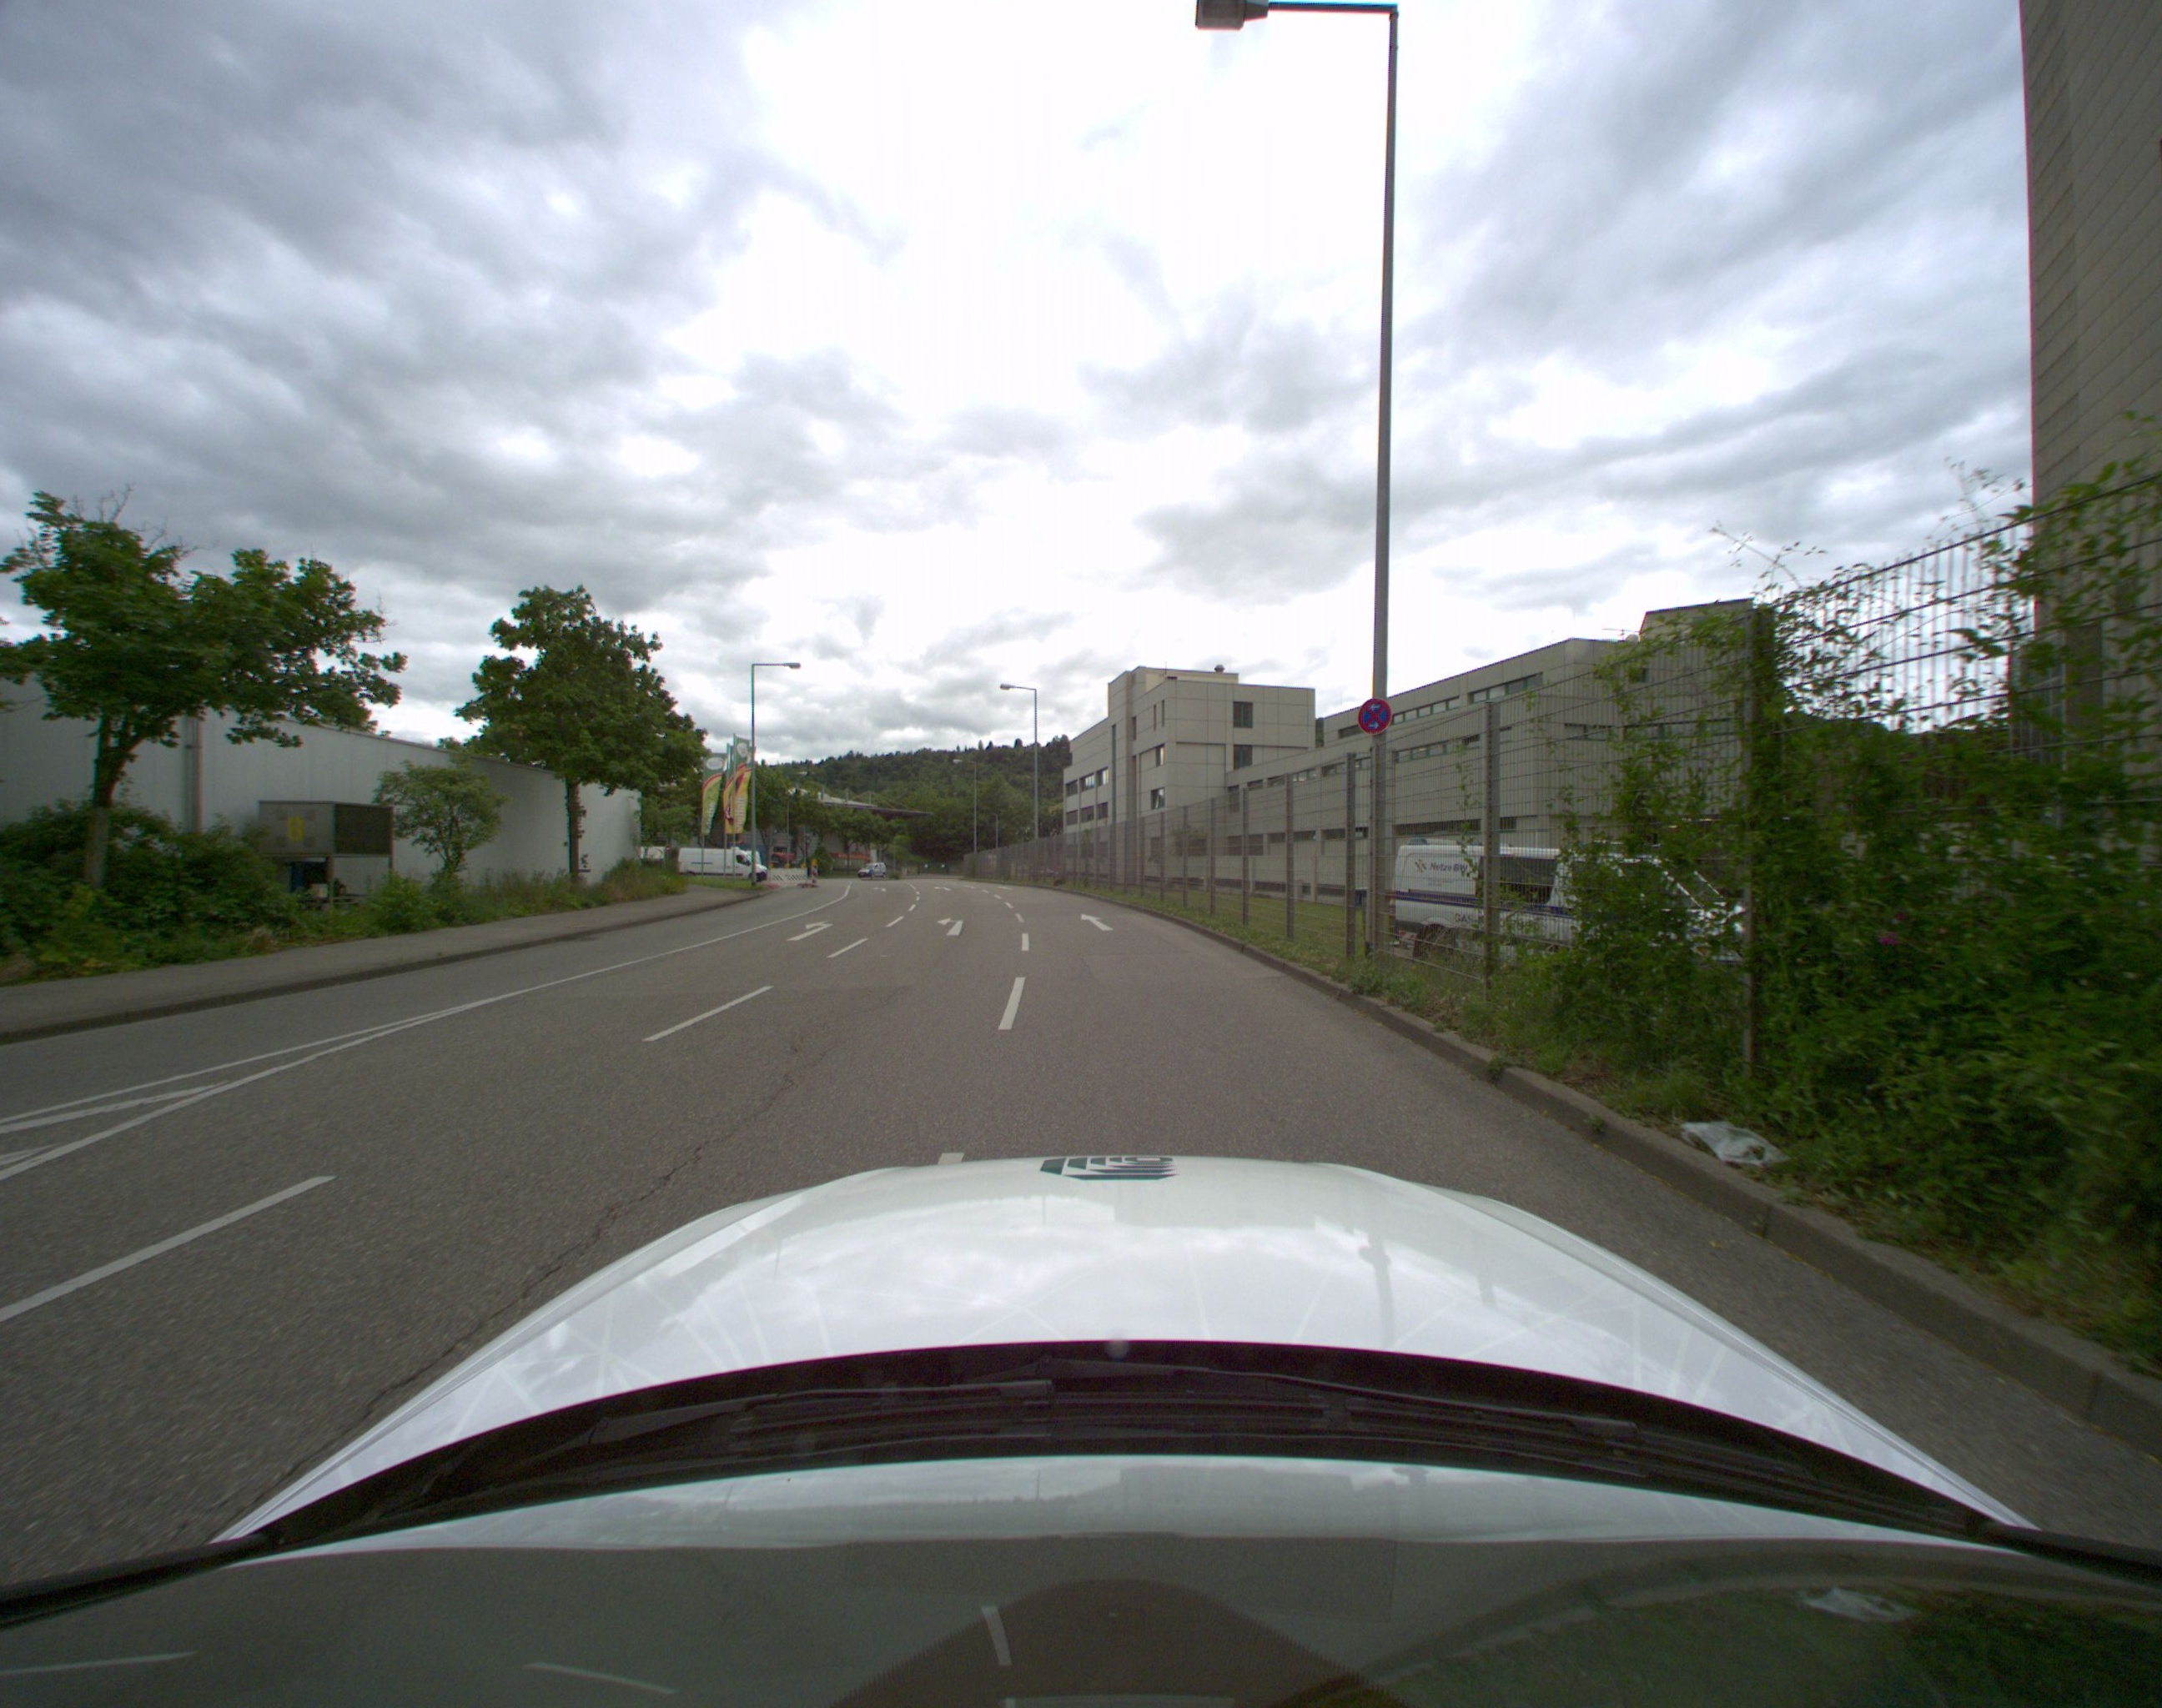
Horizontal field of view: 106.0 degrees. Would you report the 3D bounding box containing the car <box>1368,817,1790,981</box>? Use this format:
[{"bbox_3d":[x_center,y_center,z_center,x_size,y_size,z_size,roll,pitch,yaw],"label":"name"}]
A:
[{"bbox_3d":[8.276,0.690,14.405,2.007,2.263,6.106,1,-2,-32],"label":"car"}]

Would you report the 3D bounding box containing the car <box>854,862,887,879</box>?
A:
[{"bbox_3d":[-24.841,1.923,96.339,1.979,2.014,4.146,1,-1,14],"label":"car"}]

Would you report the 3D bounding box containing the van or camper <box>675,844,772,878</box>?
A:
[{"bbox_3d":[-26.026,0.543,59.484,5.990,2.247,2.385,2,-2,-13],"label":"van or camper"}]

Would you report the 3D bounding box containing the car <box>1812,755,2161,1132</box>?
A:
[{"bbox_3d":[6.744,0.474,4.143,1.984,2.014,4.852,0,-1,5],"label":"car"}]

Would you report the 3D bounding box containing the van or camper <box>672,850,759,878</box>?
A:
[{"bbox_3d":[-31.432,0.909,70.144,6.674,2.326,1.995,1,-2,-30],"label":"van or camper"}]
